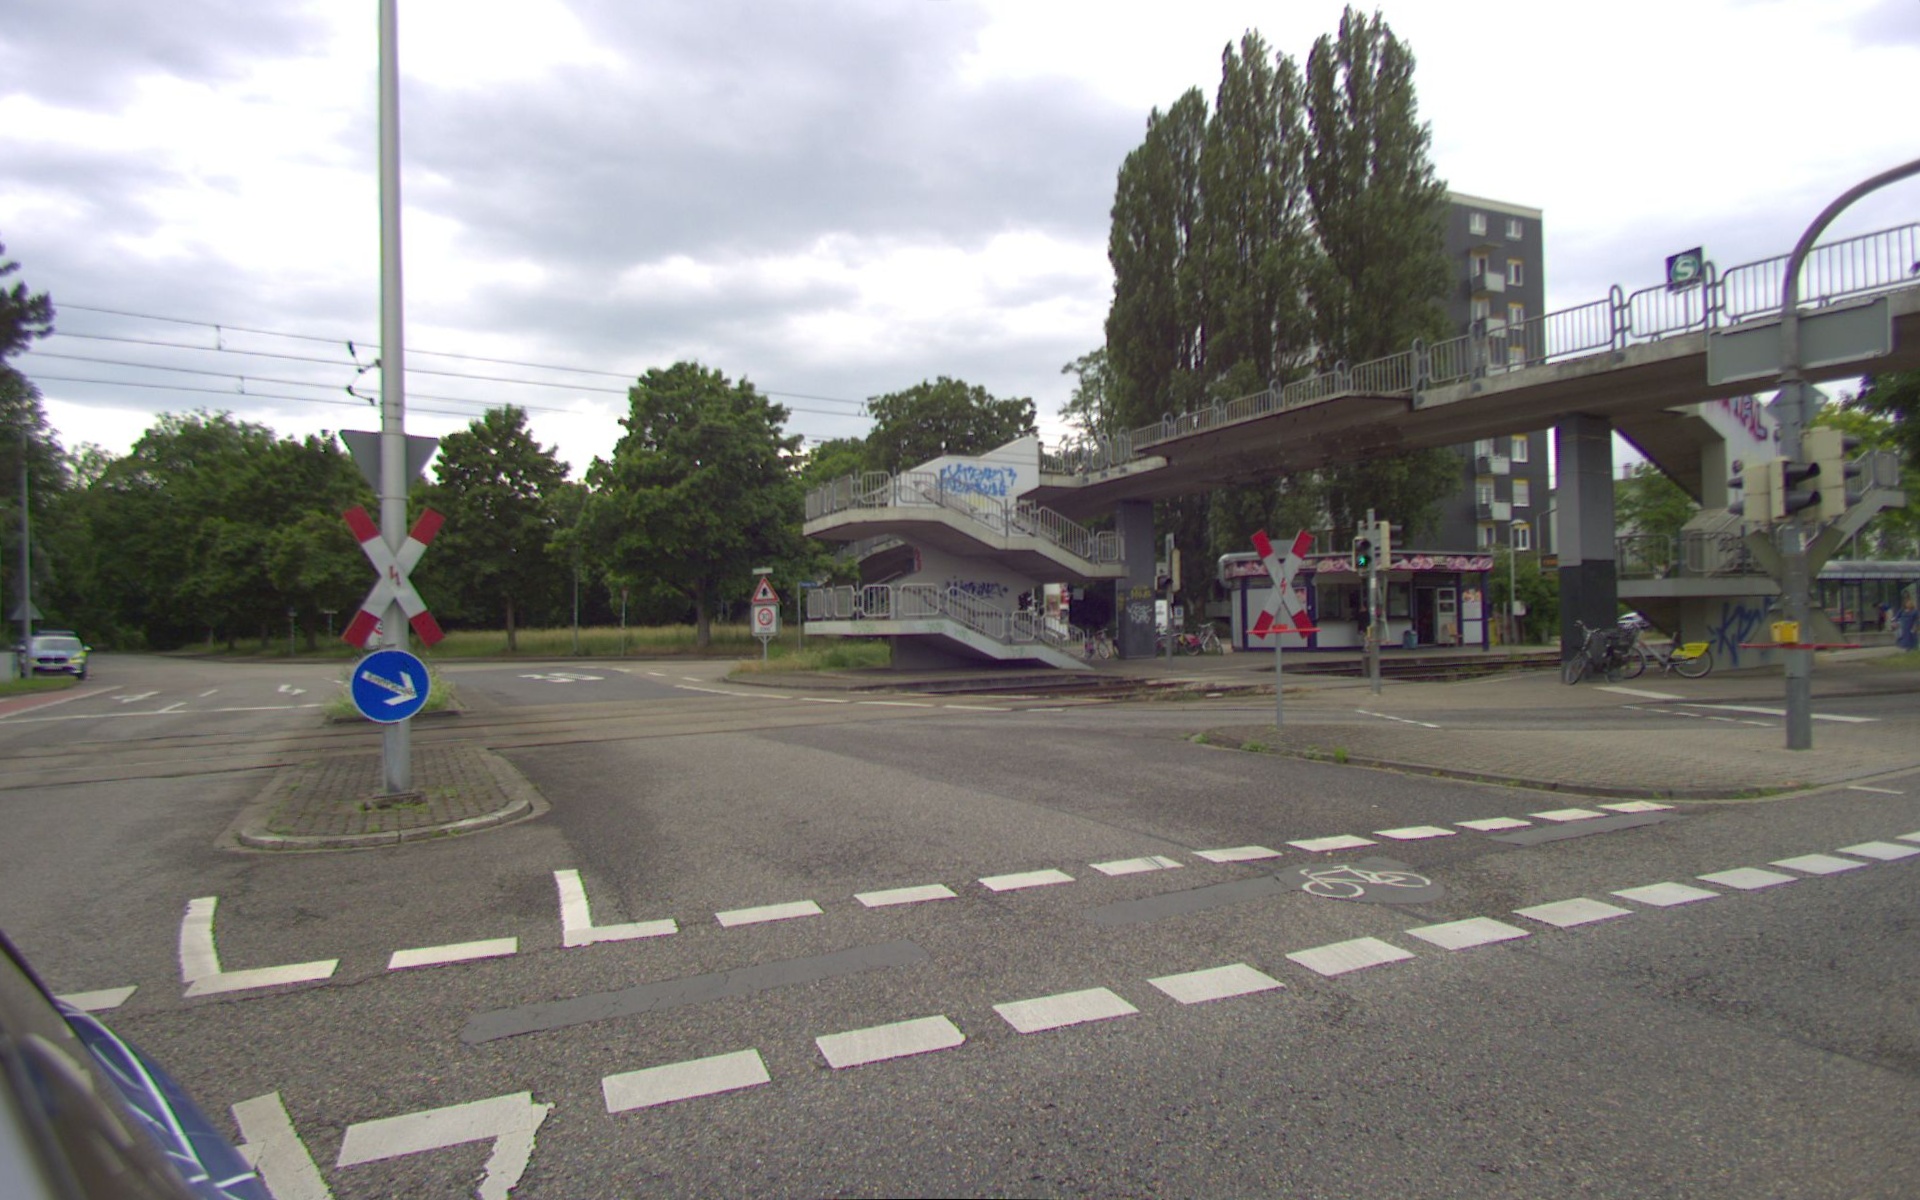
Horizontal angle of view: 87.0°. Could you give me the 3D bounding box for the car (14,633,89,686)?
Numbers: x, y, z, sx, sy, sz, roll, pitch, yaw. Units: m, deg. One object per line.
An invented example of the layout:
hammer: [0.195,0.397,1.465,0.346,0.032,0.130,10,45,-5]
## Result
car: [-33.834,2.194,37.669,1.908,1.864,4.003,3,-4,-43]

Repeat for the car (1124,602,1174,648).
car: [10.256,1.353,55.265,2.114,2.310,5.198,-2,-1,6]

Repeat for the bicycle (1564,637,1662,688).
bicycle: [12.250,1.155,18.961,2.002,0.928,0.375,0,-3,-20]

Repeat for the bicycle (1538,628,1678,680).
bicycle: [12.187,1.005,19.053,2.369,0.895,0.559,-1,-1,-7]

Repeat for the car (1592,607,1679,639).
car: [34.637,1.175,51.877,3.931,1.572,1.674,-1,-1,-21]

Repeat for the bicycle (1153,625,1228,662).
bicycle: [7.602,1.401,33.254,2.747,1.123,0.993,0,-2,-43]

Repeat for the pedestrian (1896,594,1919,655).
pedestrian: [24.857,0.644,26.380,0.329,1.576,0.562,0,-2,-31]

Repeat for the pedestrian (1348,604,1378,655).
pedestrian: [13.363,0.979,33.566,0.674,1.677,0.544,-1,-2,-25]

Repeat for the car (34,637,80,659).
car: [-82.656,4.402,92.592,4.208,1.871,2.072,-2,-1,32]

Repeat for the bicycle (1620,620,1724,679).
bicycle: [13.758,0.958,19.598,1.610,1.103,0.347,-2,-2,33]
